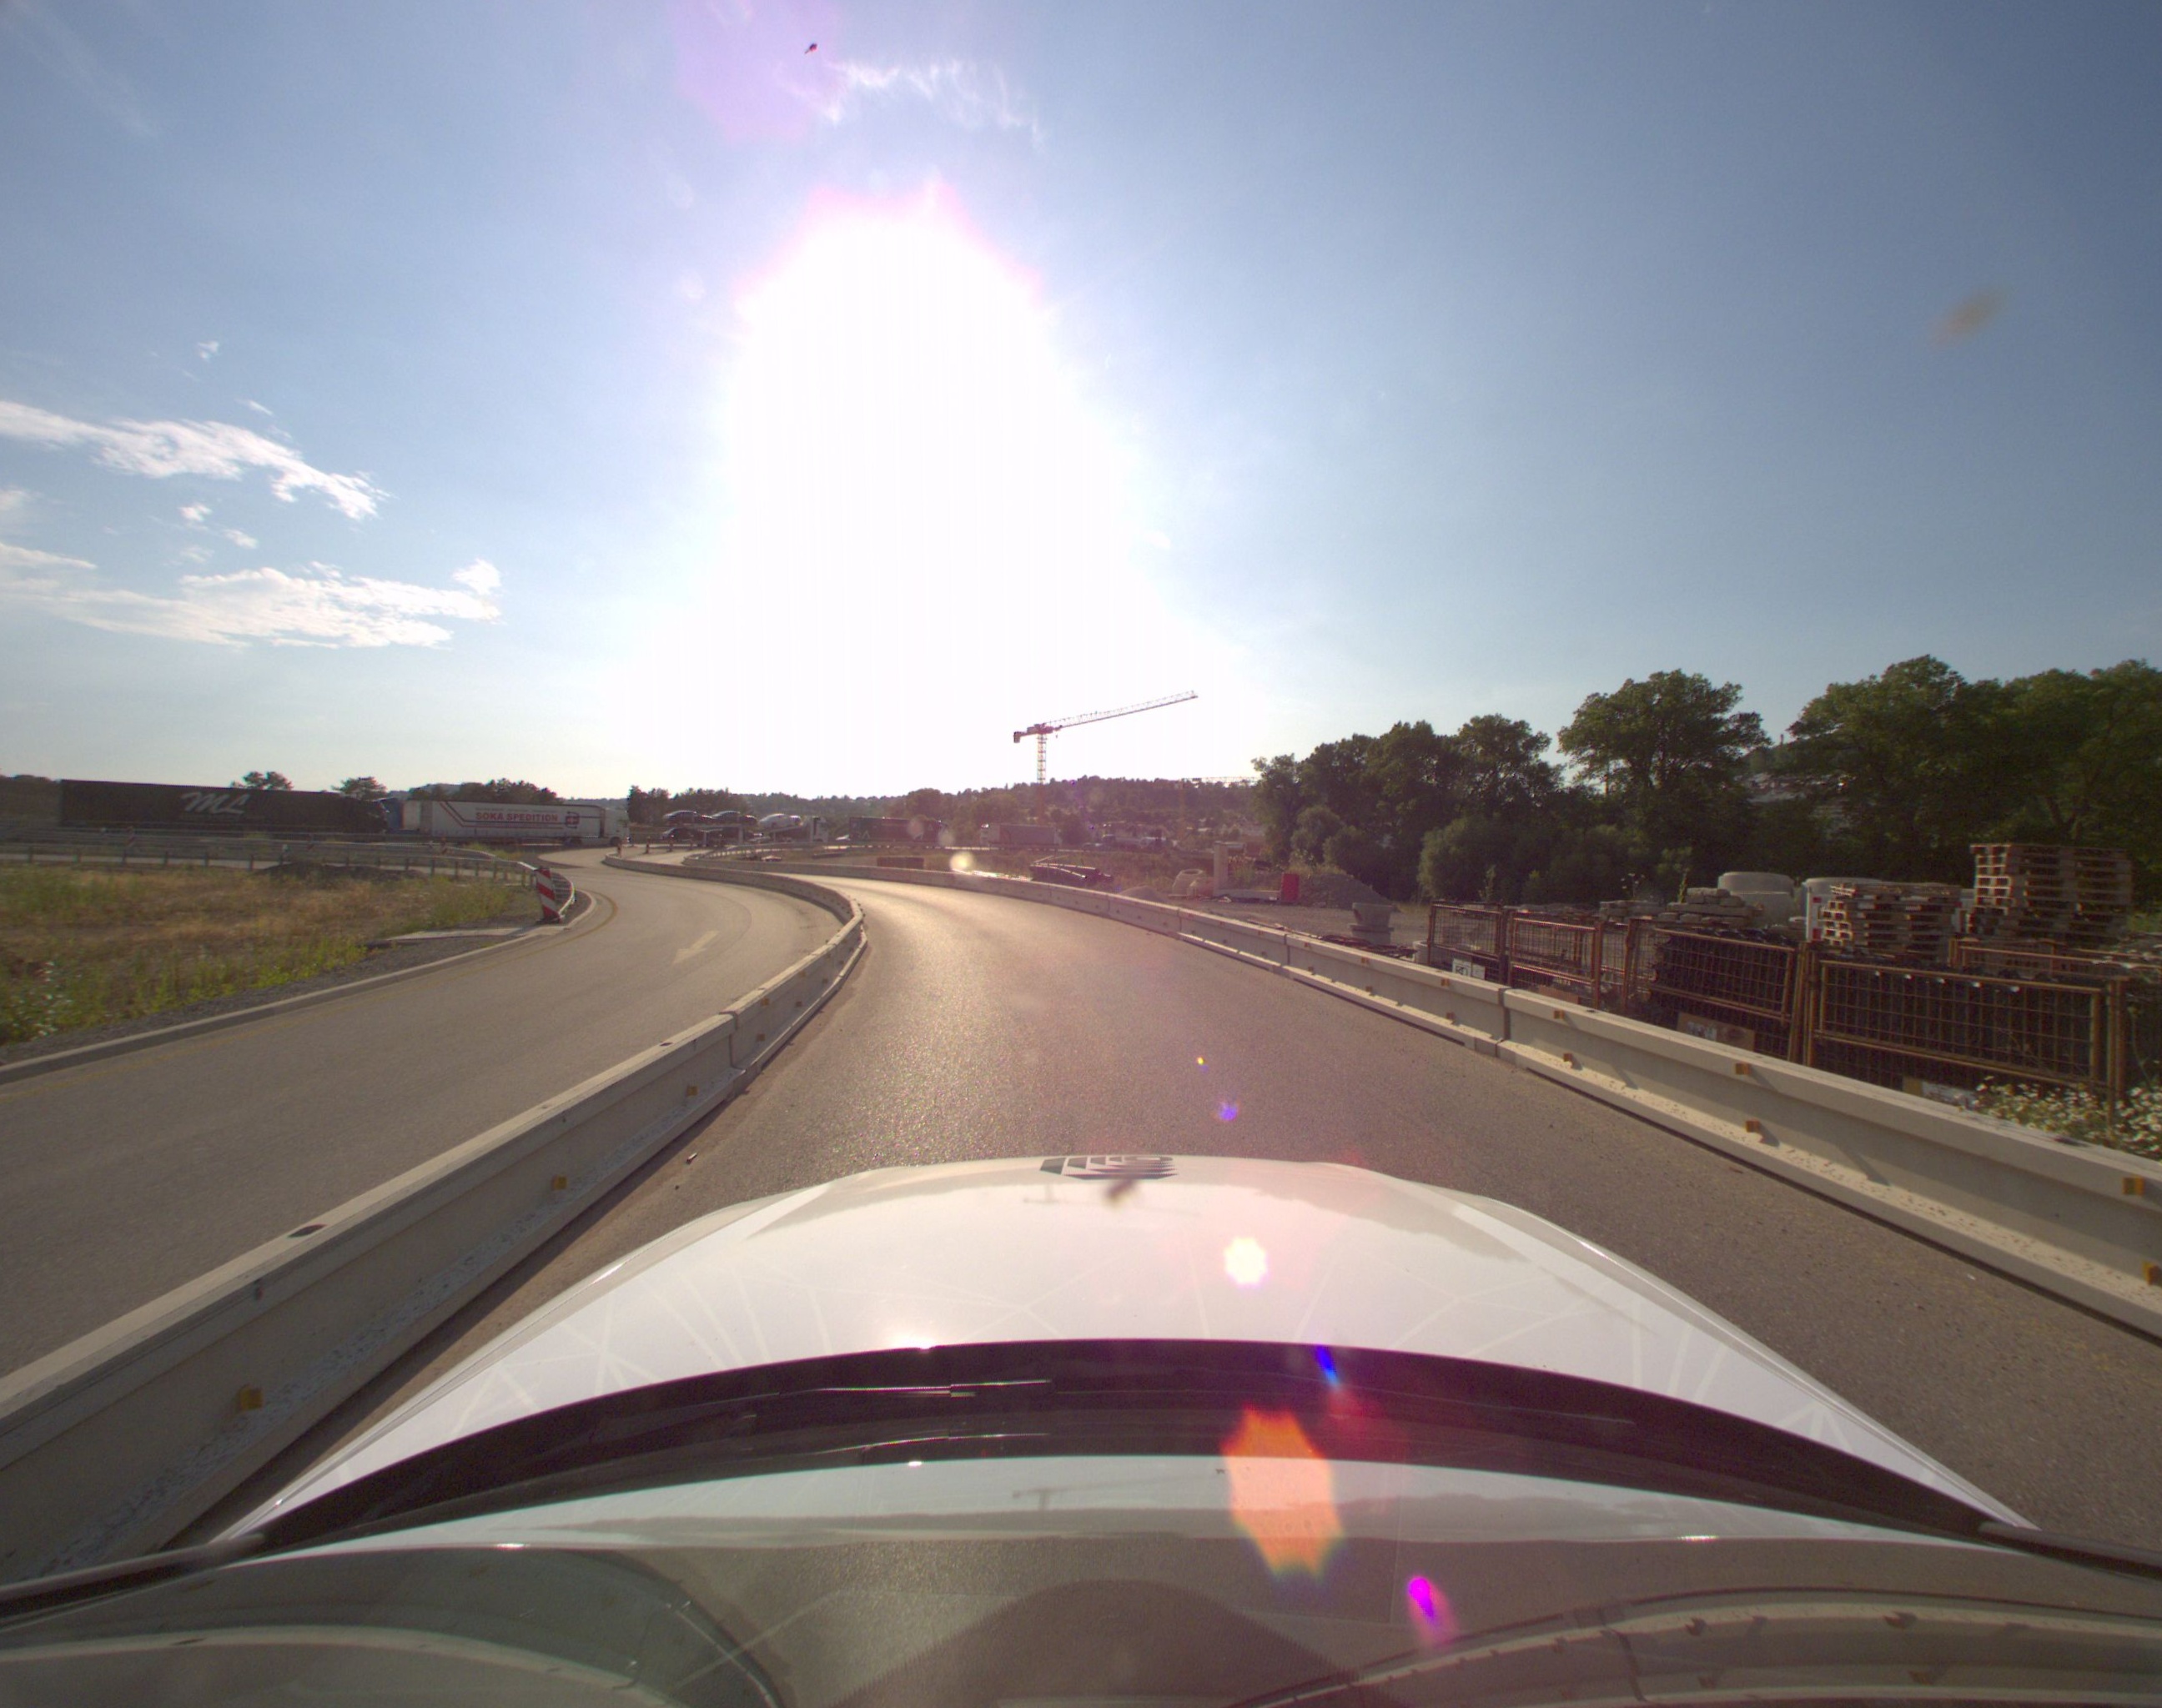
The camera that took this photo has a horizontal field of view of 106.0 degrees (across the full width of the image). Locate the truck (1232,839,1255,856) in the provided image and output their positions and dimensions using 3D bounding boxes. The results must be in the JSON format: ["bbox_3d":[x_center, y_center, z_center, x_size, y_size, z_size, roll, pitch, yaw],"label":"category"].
[{"bbox_3d":[41.342,-1.640,207.353,3.068,4.285,6.666,2,0,35],"label":"truck"}]

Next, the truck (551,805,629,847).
[{"bbox_3d":[-48.712,-2.762,80.982,2.457,3.878,6.049,2,1,35],"label":"truck"}]

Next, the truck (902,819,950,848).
[{"bbox_3d":[-22.409,-2.976,117.956,2.857,3.996,6.666,2,1,36],"label":"truck"}]

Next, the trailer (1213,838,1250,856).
[{"bbox_3d":[37.488,-1.704,201.883,3.074,4.313,14.342,2,1,35],"label":"trailer"}]

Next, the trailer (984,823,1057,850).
[{"bbox_3d":[-9.805,-2.898,135.453,3.352,3.996,14.838,2,1,35],"label":"trailer"}]

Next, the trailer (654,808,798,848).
[{"bbox_3d":[-40.081,-2.861,93.222,2.830,3.996,15.845,2,1,35],"label":"trailer"}]

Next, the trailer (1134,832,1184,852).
[{"bbox_3d":[16.717,-2.504,172.905,3.352,3.996,14.838,2,1,35],"label":"trailer"}]

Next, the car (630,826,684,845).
[{"bbox_3d":[-47.974,-2.097,92.166,2.009,1.980,5.011,4,2,36],"label":"car"}]

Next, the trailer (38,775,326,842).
[{"bbox_3d":[-64.121,-3.061,58.816,2.457,4.061,13.716,2,1,37],"label":"trailer"}]

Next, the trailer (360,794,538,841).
[{"bbox_3d":[-61.671,-3.462,80.160,2.830,3.996,13.561,2,1,35],"label":"trailer"}]

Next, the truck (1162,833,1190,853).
[{"bbox_3d":[20.916,-2.413,178.863,3.357,3.996,6.666,2,1,35],"label":"truck"}]

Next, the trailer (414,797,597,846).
[{"bbox_3d":[-52.699,-2.836,75.331,2.457,3.878,13.717,2,1,35],"label":"trailer"}]

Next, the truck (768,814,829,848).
[{"bbox_3d":[-34.819,-2.791,100.575,2.821,3.996,6.666,2,1,35],"label":"truck"}]

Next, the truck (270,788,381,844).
[{"bbox_3d":[-59.769,-2.940,64.559,2.457,4.060,6.049,2,1,37],"label":"truck"}]

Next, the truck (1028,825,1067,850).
[{"bbox_3d":[-5.743,-2.809,141.285,3.311,3.996,6.666,2,1,35],"label":"truck"}]

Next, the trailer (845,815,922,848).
[{"bbox_3d":[-26.925,-2.997,111.769,2.930,4.091,10.861,1,0,36],"label":"trailer"}]

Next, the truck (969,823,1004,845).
[{"bbox_3d":[-16.524,-3.464,142.882,2.967,3.727,5.724,0,0,36],"label":"truck"}]
